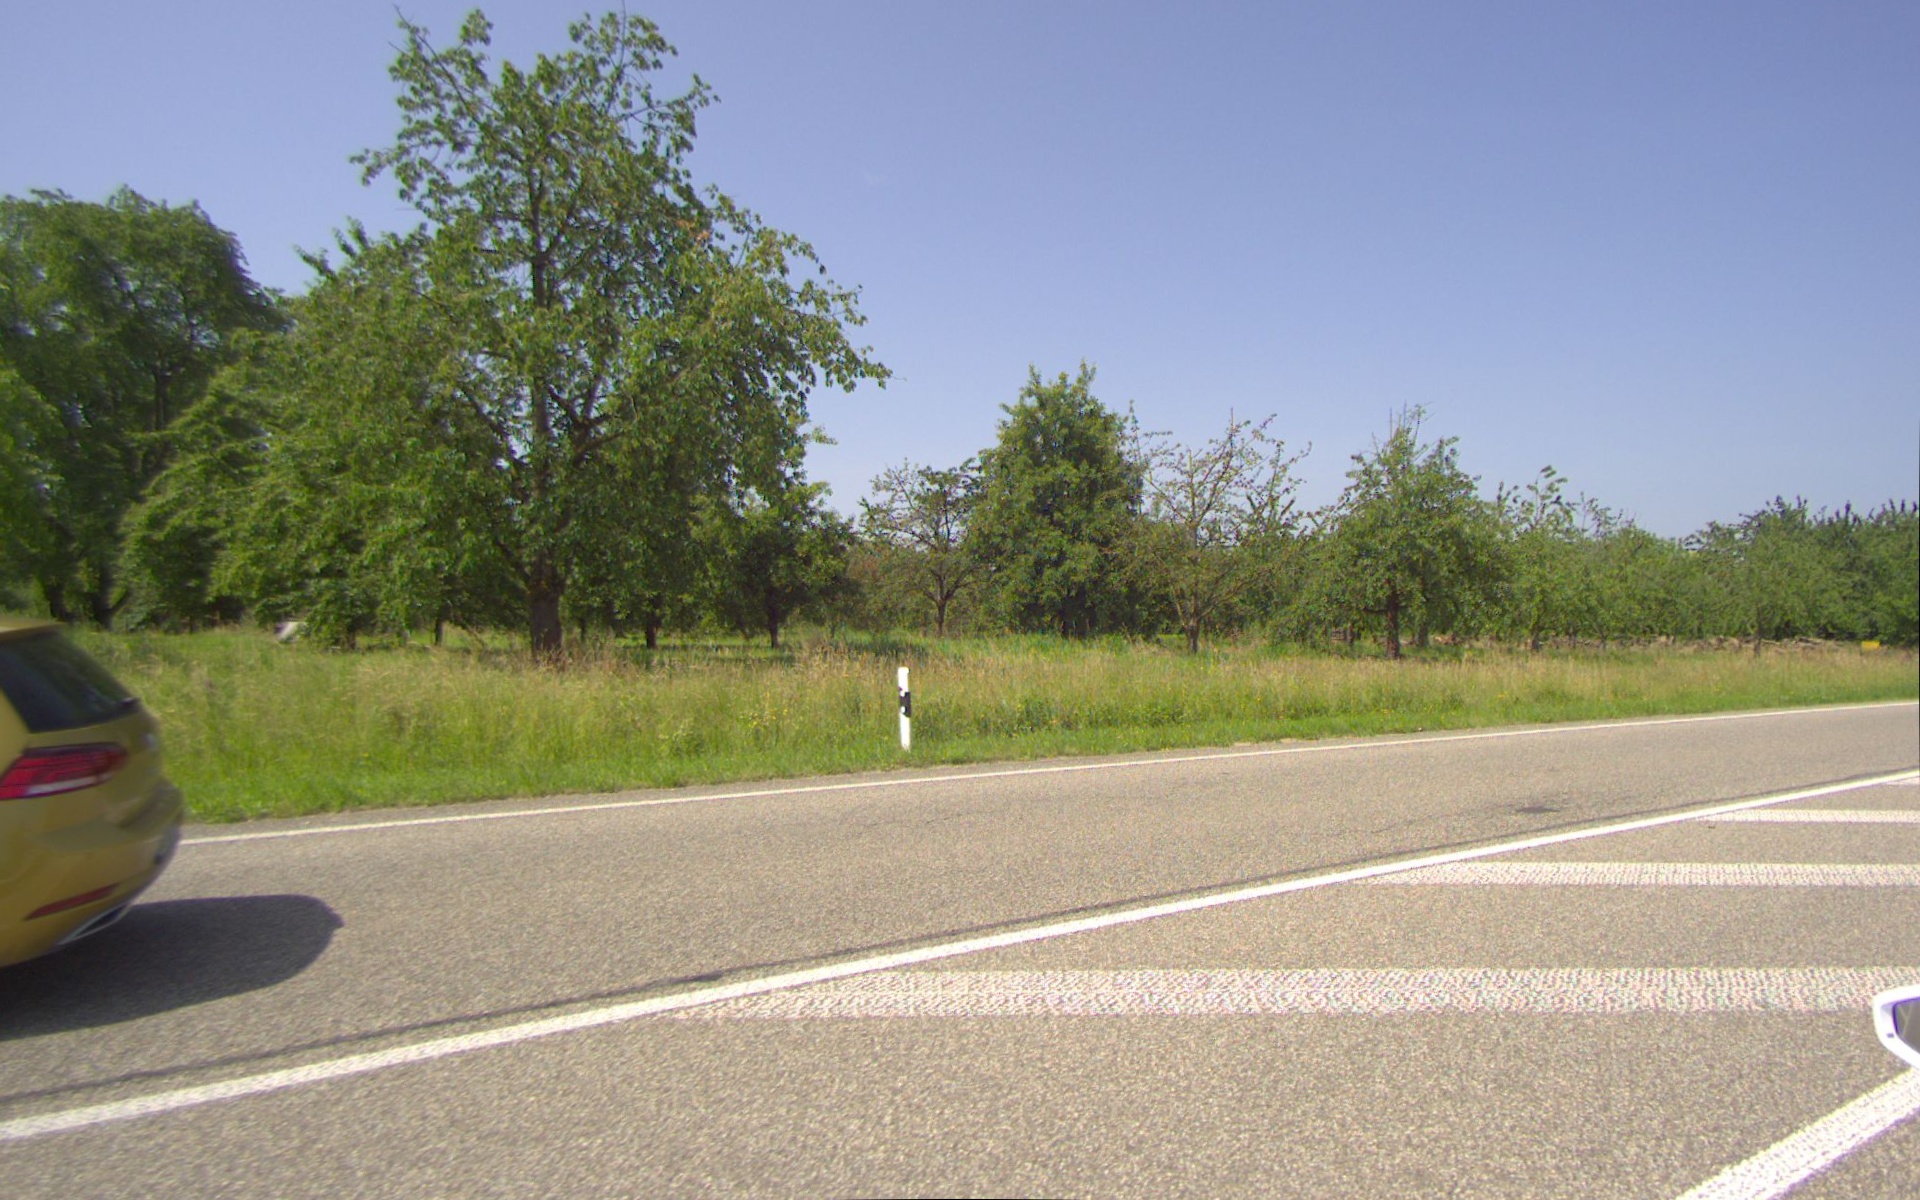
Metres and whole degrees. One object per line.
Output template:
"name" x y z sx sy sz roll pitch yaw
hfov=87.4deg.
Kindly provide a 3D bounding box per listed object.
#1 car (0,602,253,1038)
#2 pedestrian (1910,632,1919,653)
"car" -4.748 0.704 3.333 3.782 1.435 1.688 1 -1 -32
"pedestrian" 60.588 2.694 63.556 0.549 1.314 0.571 2 0 -27
